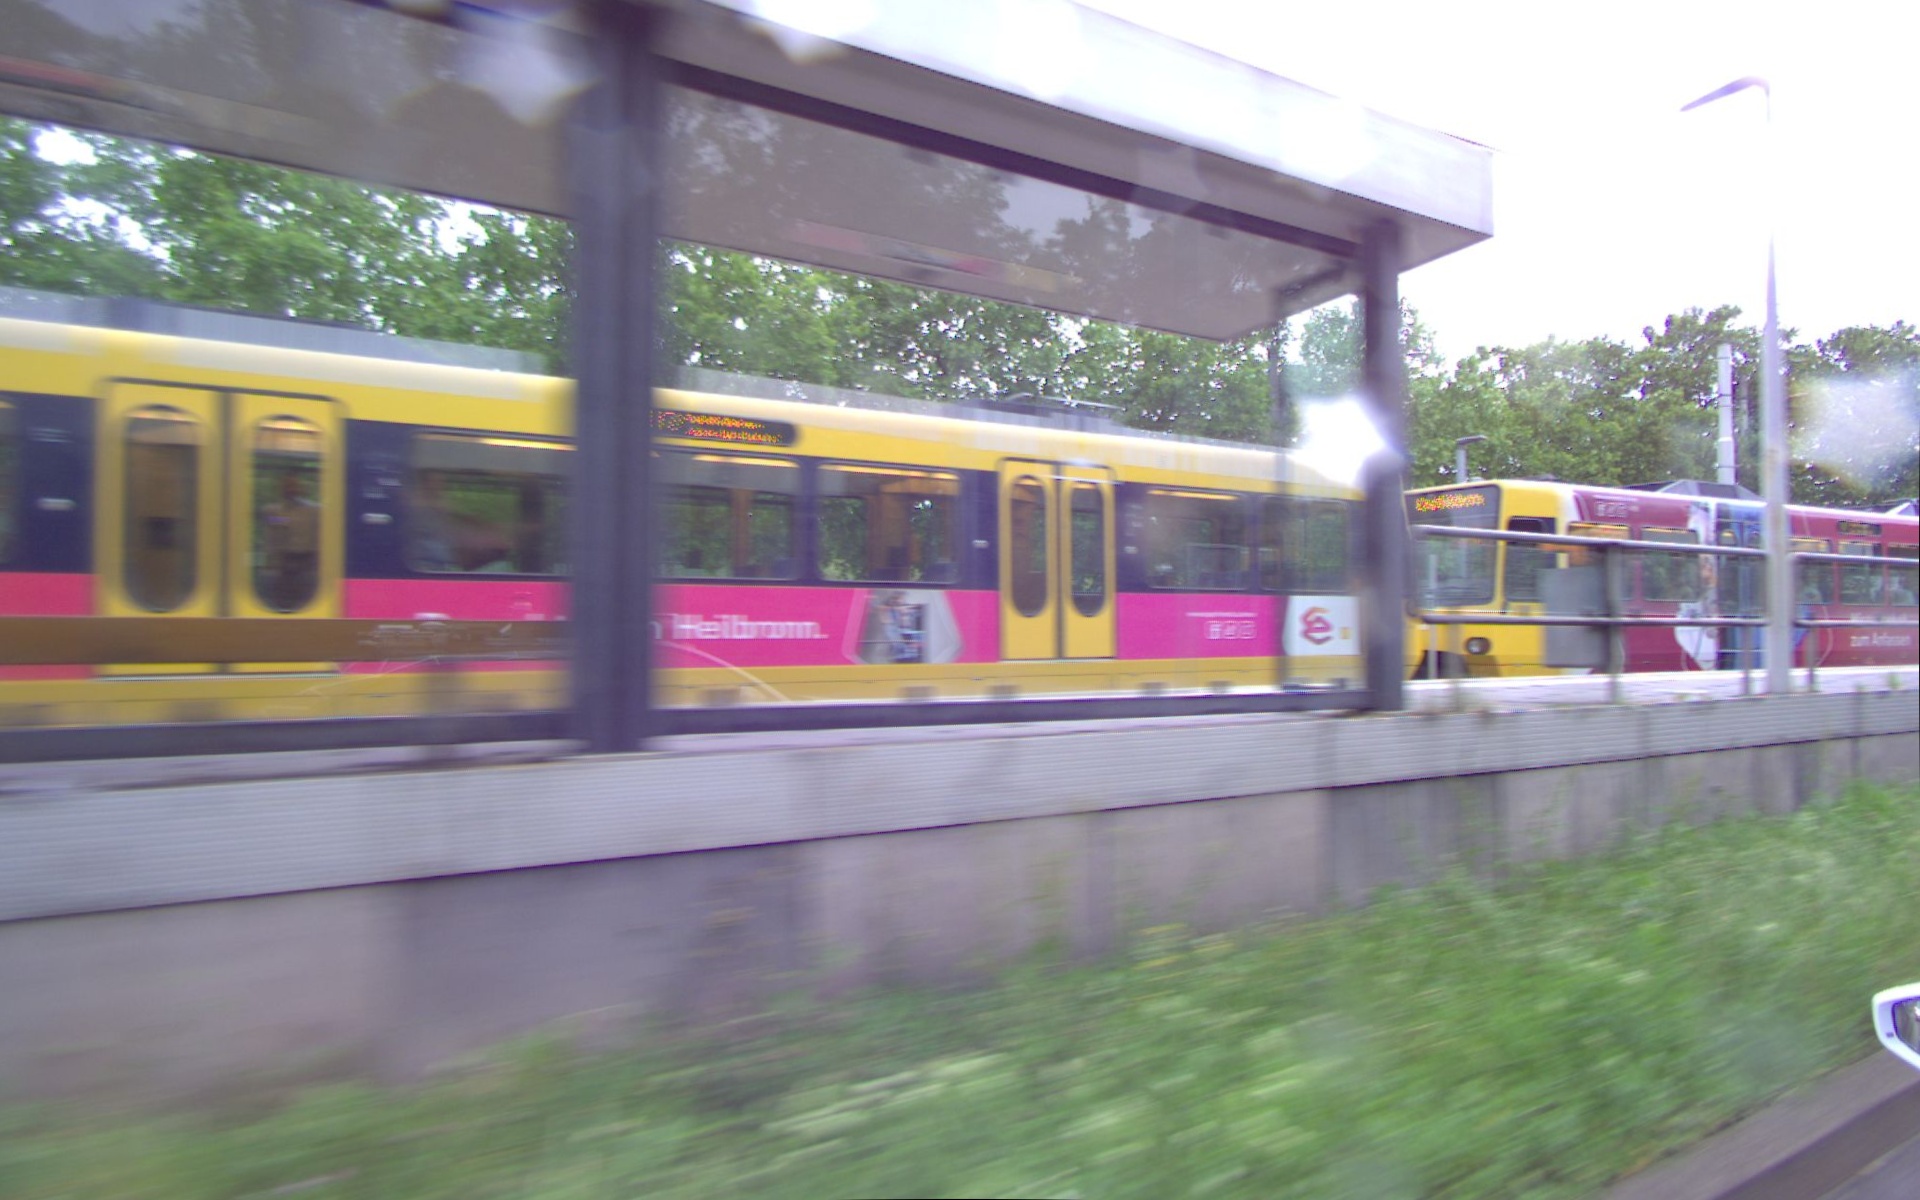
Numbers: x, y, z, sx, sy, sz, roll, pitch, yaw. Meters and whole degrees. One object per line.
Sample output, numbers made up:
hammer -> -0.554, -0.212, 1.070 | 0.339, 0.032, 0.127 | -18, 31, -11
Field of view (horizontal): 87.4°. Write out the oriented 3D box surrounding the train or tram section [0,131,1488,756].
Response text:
train or tram section -> -2.234, -0.891, 10.090 | 19.082, 4.007, 2.857 | 2, 0, -27

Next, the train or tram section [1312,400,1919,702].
train or tram section -> 14.896, -0.430, 18.602 | 19.063, 4.024, 2.860 | 2, 0, -24
